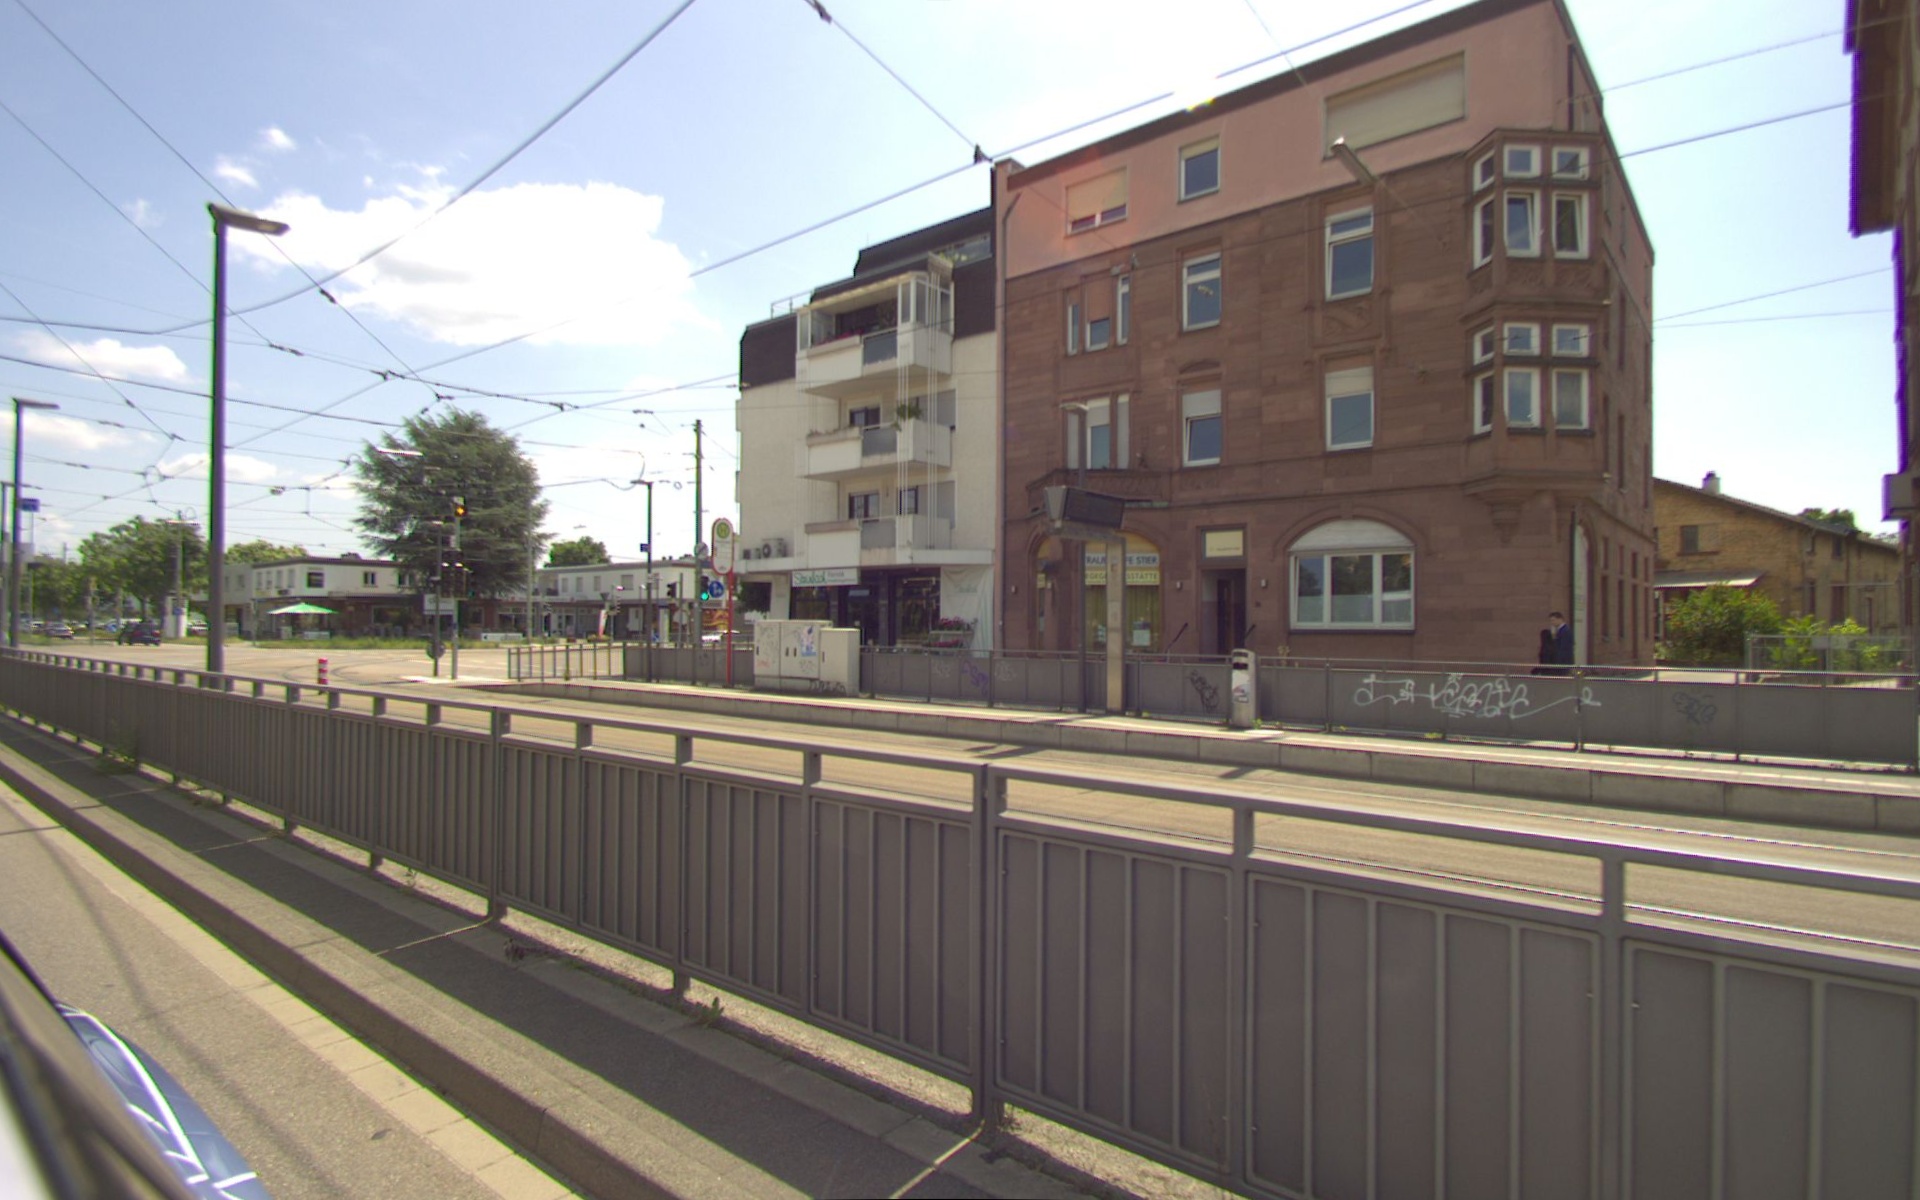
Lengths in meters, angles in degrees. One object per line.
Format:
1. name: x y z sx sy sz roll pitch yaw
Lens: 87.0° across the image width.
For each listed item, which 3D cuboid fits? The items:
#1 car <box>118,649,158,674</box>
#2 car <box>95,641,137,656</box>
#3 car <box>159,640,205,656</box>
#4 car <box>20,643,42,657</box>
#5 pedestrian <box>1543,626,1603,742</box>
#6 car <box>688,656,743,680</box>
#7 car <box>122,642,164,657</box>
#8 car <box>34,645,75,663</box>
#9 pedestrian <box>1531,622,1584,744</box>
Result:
1. car: -57.461 4.267 70.739 1.704 1.696 4.281 4 -4 -45
2. car: -111.548 6.427 133.753 1.802 1.749 3.945 -1 -5 41
3. car: -129.817 8.071 168.958 2.256 2.500 5.628 -2 -4 37
4. car: -109.561 5.845 119.355 4.358 1.551 1.483 -1 -2 42
5. pedestrian: 11.005 1.485 18.170 0.809 2.029 0.611 -2 -4 38
6. car: -19.523 5.415 80.848 1.899 1.738 3.800 -1 -5 42
7. car: -106.098 6.430 131.472 1.902 1.750 3.945 -2 -4 41
8. car: -79.019 4.732 88.271 4.397 1.483 1.973 -2 -4 40
9. pedestrian: 10.293 1.400 17.434 0.684 2.029 0.670 -1 -3 38
